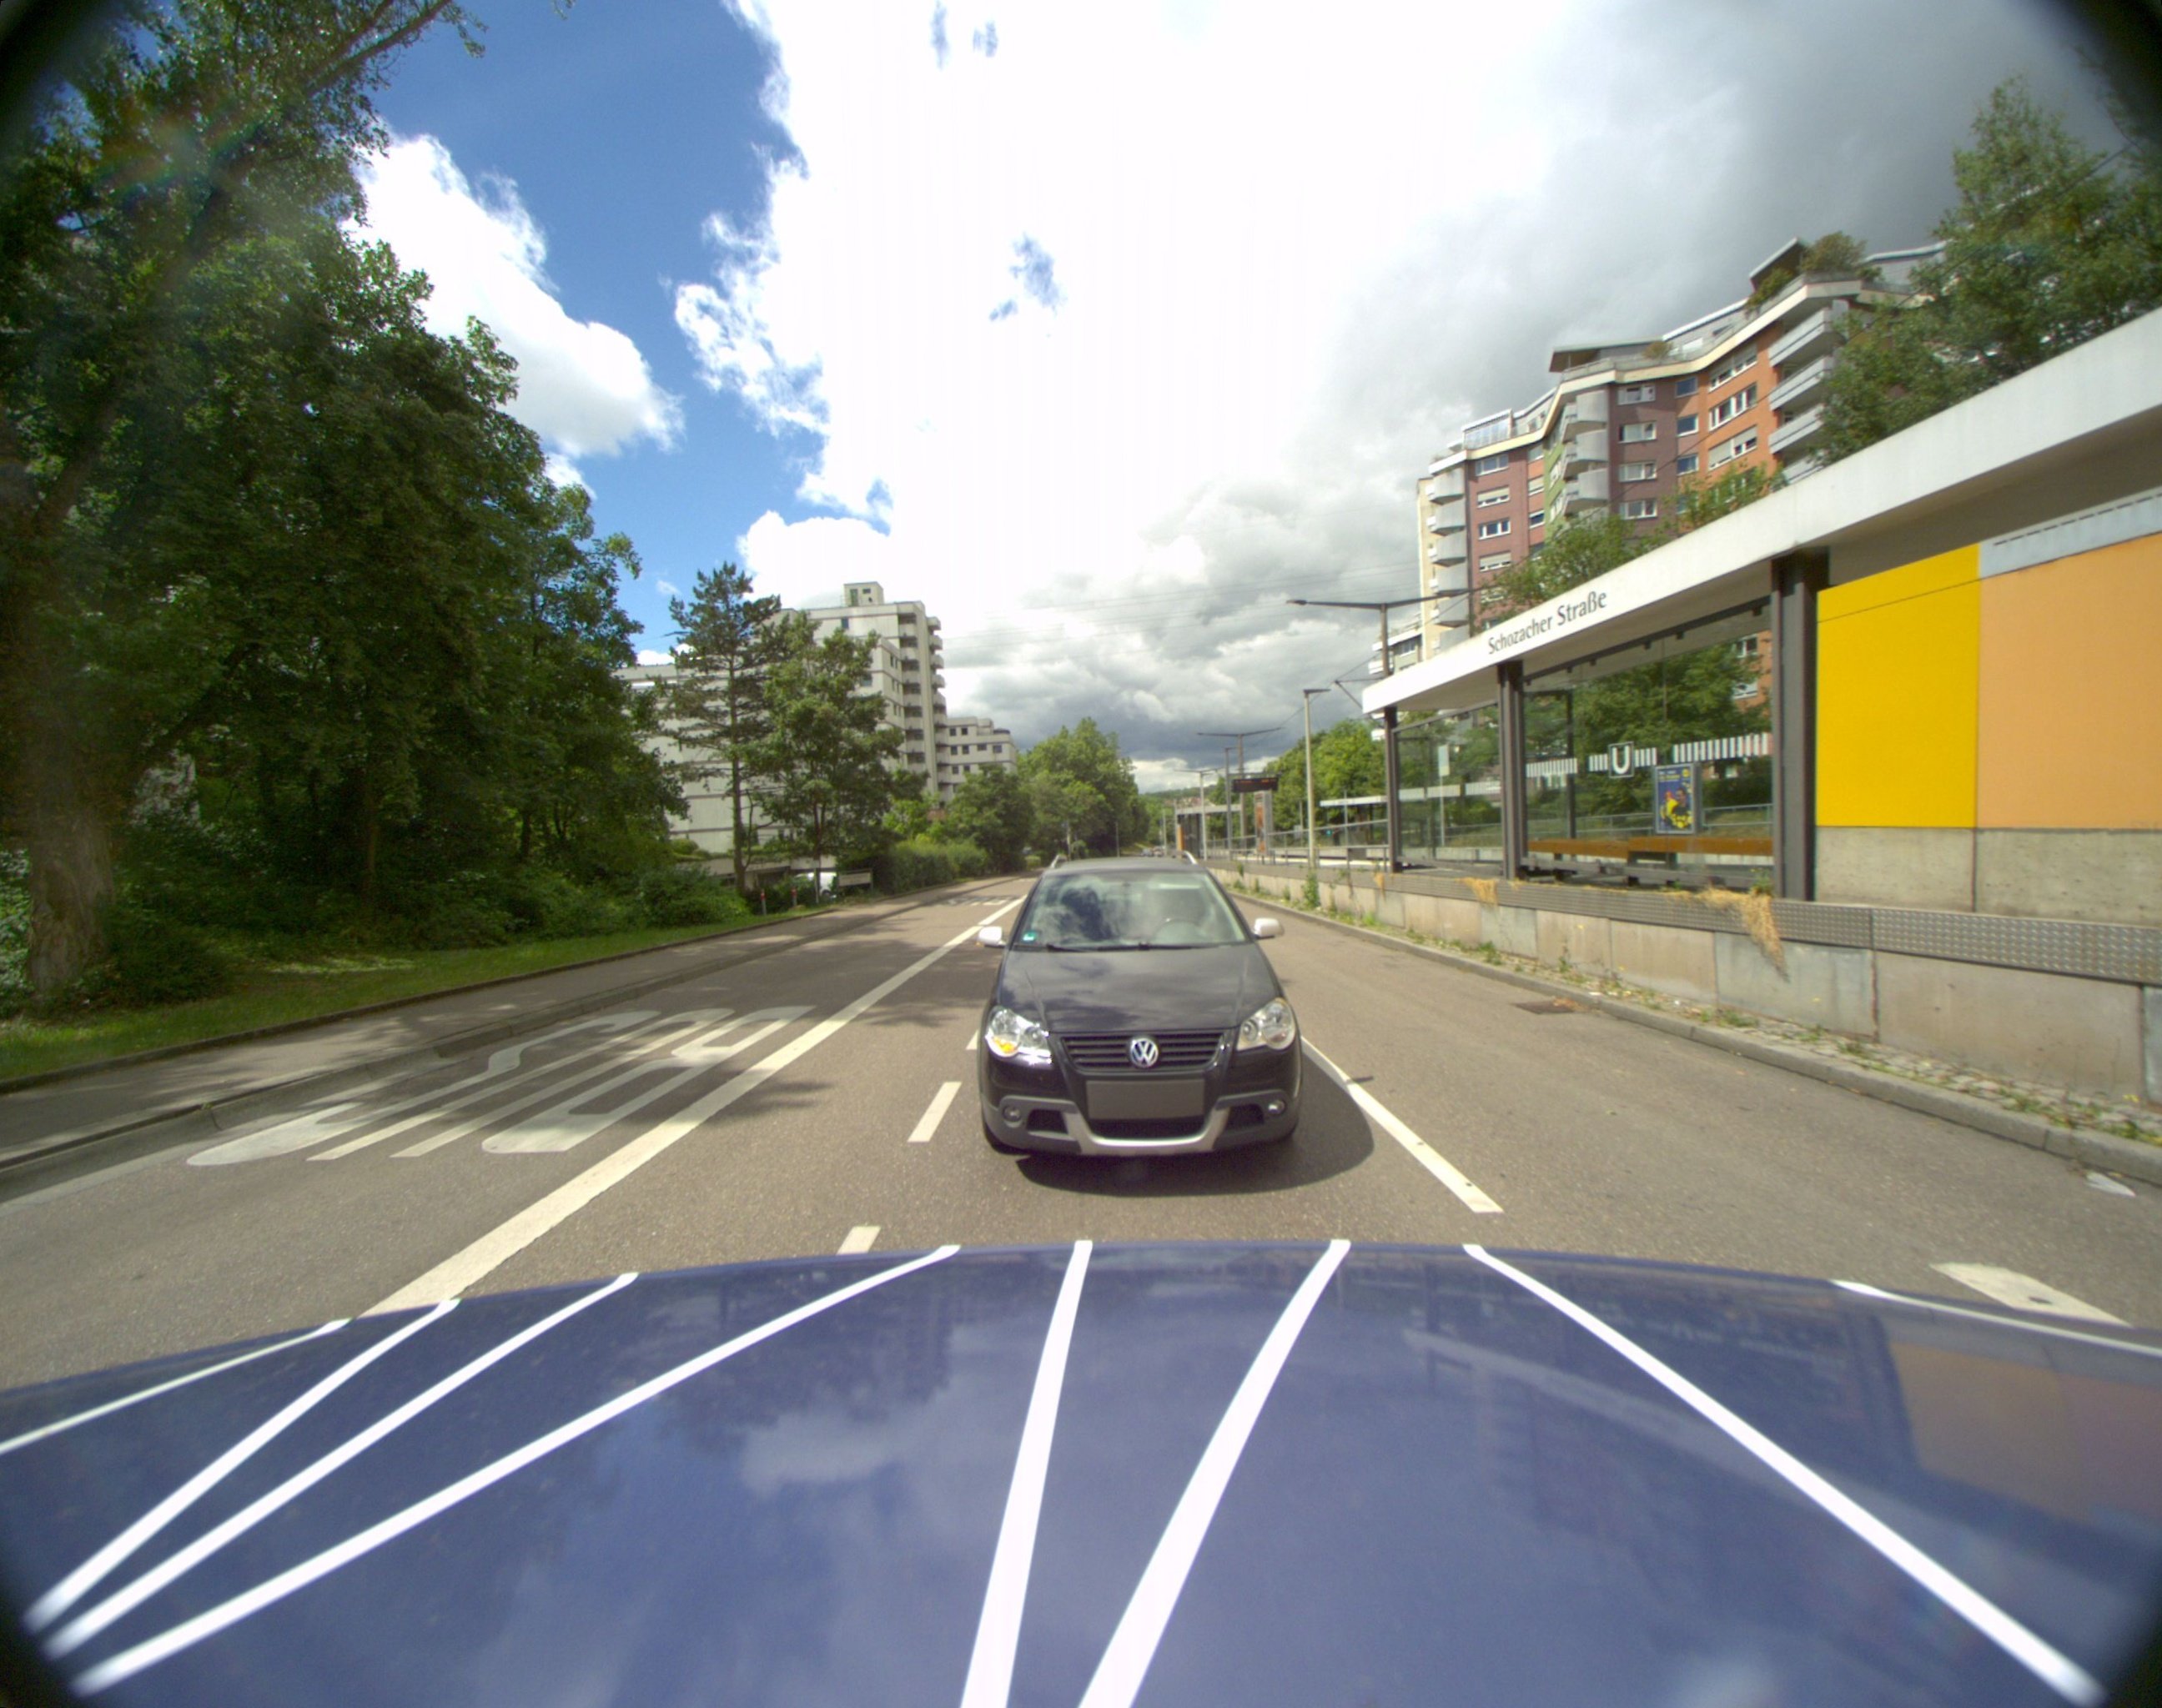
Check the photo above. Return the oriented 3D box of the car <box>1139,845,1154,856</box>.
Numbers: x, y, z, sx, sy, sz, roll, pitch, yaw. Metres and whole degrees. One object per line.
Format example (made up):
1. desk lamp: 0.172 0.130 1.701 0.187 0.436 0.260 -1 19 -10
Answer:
1. car: 9.117 -0.458 106.008 1.821 1.377 4.065 -2 1 2

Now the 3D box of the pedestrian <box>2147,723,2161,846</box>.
1. pedestrian: 15.250 -0.978 10.577 0.354 1.703 0.426 -3 2 -41

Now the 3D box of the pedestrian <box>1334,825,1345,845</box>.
1. pedestrian: 16.570 -1.219 48.659 0.535 1.270 0.563 -2 1 28

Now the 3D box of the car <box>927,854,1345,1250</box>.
1. car: 0.315 0.822 5.096 1.641 1.521 4.000 -2 1 3

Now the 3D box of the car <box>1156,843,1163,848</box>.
1. car: 20.107 -2.172 194.282 1.643 1.395 3.708 -2 1 4

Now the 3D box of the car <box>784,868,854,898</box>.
1. car: -19.890 2.225 57.806 4.543 2.002 2.001 -2 1 7

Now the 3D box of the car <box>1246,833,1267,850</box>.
1. car: 22.155 -1.604 96.150 1.737 2.002 4.000 -2 1 2
